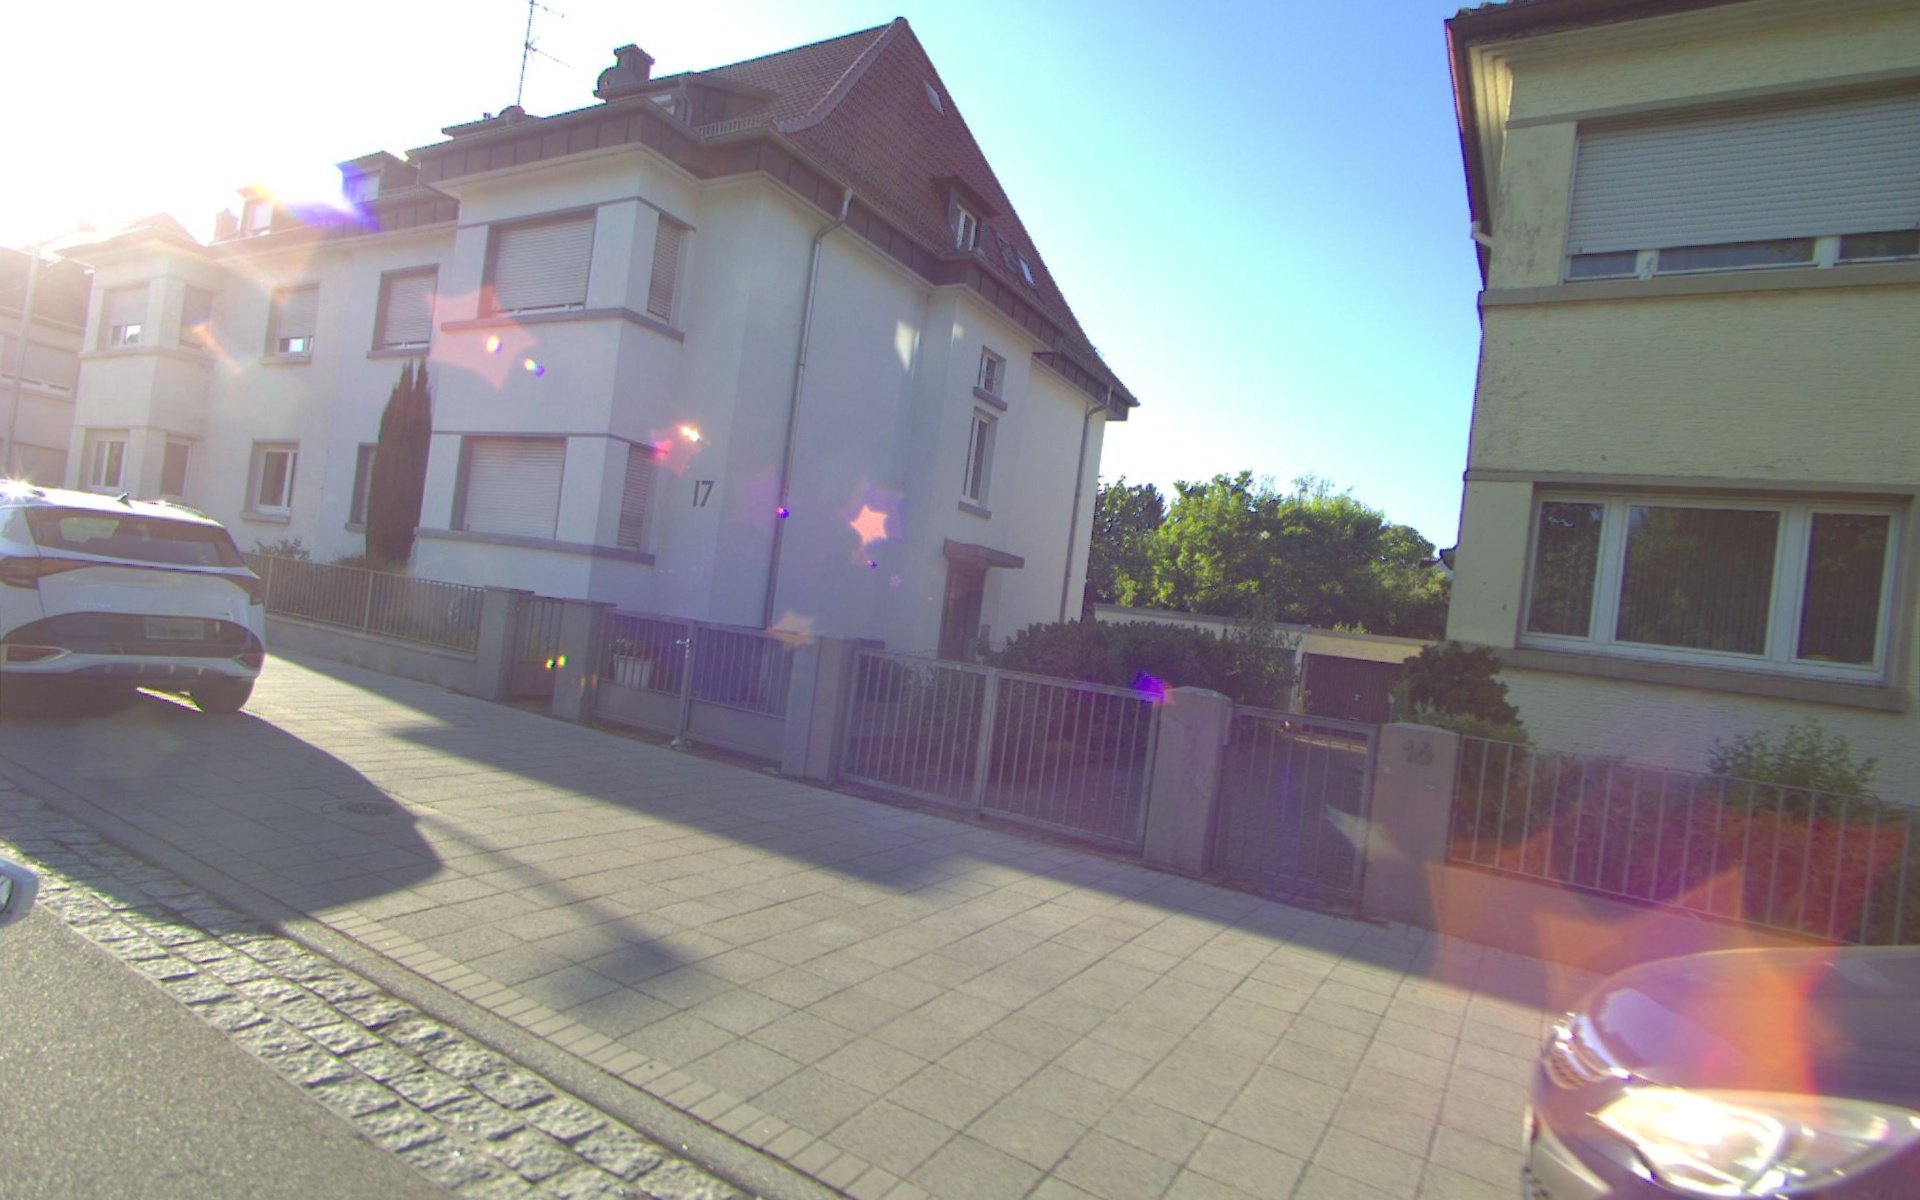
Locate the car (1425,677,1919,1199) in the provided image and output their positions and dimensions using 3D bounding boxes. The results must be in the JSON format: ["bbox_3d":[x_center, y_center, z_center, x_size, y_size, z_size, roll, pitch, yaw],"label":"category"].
[{"bbox_3d":[3.048,1.103,1.712,3.903,1.429,1.622,6,1,32],"label":"car"}]

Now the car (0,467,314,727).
[{"bbox_3d":[-7.395,-0.140,8.182,4.061,1.655,1.840,7,-1,30],"label":"car"}]
